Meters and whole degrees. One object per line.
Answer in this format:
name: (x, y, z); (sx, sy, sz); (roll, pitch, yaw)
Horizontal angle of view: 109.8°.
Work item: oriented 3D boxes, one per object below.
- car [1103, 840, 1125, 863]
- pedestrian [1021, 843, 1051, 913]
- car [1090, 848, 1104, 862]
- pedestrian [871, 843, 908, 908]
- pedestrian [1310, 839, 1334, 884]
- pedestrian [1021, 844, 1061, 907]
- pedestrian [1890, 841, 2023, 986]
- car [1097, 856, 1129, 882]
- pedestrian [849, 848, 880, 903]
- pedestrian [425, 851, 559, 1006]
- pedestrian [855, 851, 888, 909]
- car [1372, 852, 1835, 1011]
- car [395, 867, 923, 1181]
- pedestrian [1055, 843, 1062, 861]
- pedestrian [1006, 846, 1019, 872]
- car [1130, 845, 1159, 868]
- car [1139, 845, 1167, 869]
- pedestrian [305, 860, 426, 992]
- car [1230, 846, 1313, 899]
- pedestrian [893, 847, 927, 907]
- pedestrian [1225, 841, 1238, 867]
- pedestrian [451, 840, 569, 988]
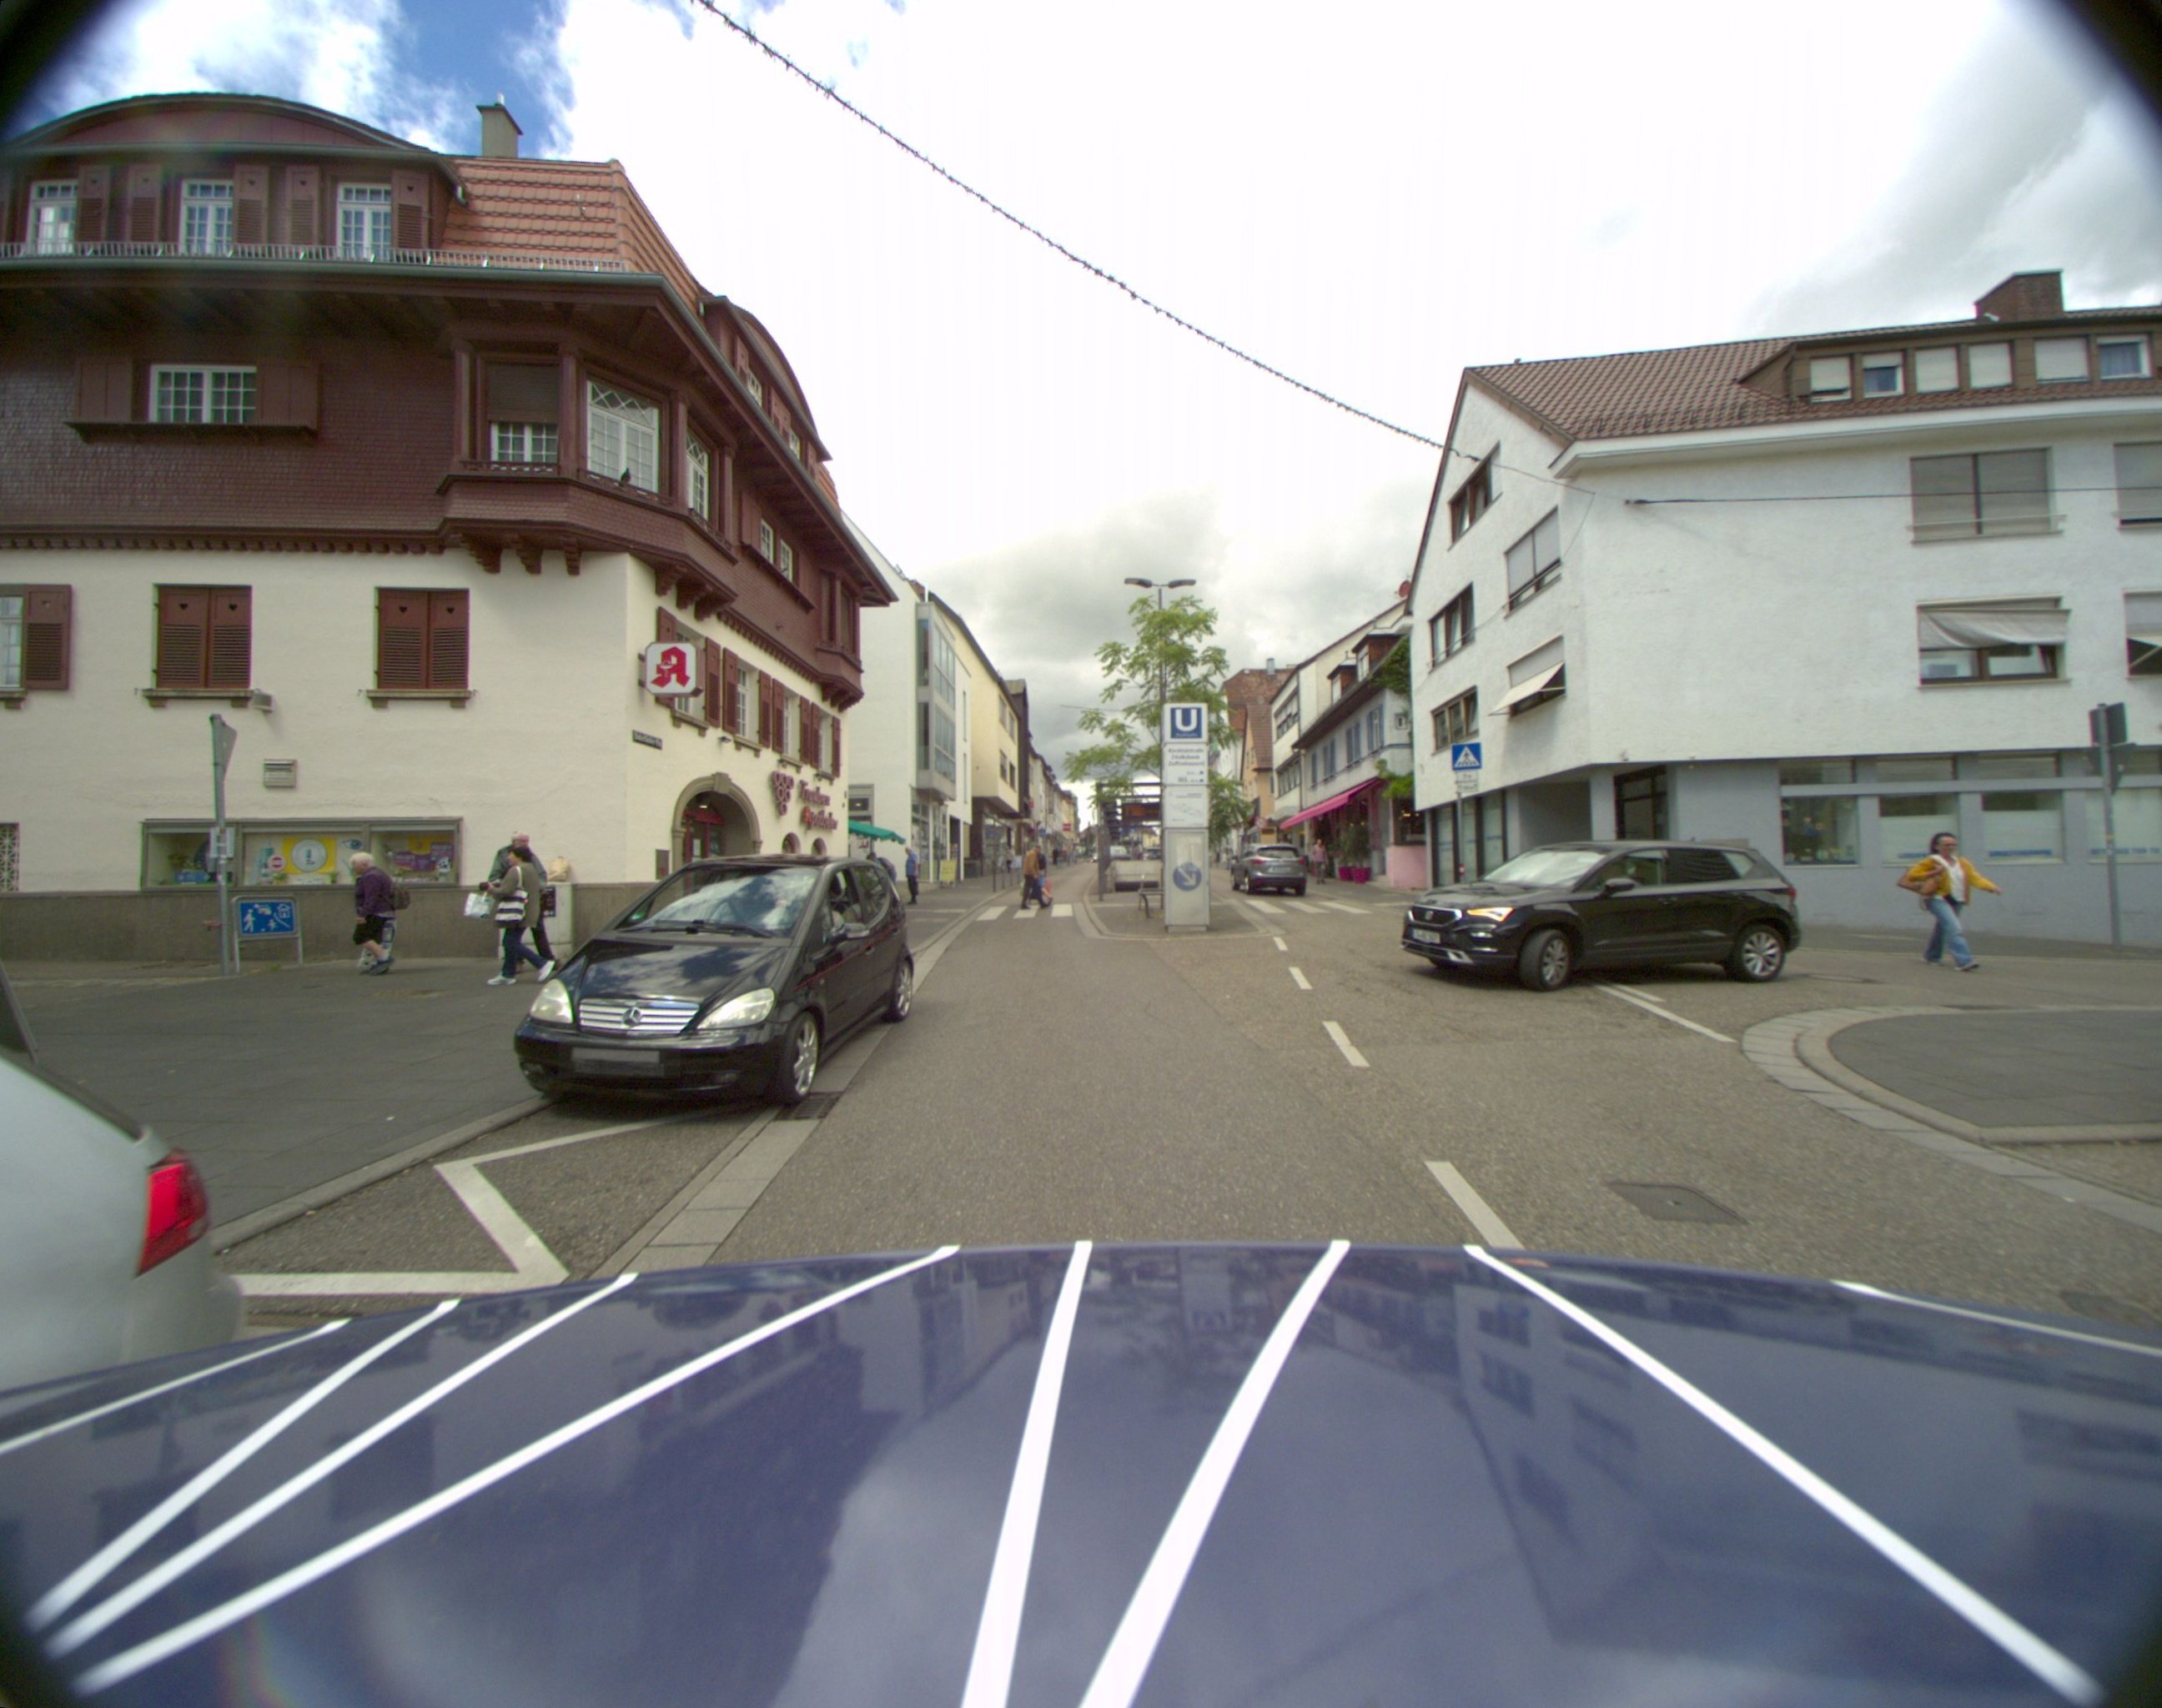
car: (2.498, -0.222, 57.313); (1.576, 1.600, 3.533); (-3, 1, 2)
pedestrian: (-1.192, 0.619, 20.100); (0.676, 1.791, 0.787); (-1, 1, -11)
car: (2.420, 0.088, 113.840); (1.998, 2.002, 4.000); (-1, 1, 2)
pedestrian: (-5.564, 0.609, 22.121); (0.778, 1.846, 0.704); (0, 1, 44)
pedestrian: (9.319, 0.276, 29.394); (0.696, 1.730, 0.825); (-1, 1, 4)
pedestrian: (-1.142, 0.604, 21.922); (0.918, 1.777, 0.988); (-1, 1, 10)
pedestrian: (10.839, 0.700, 9.442); (0.638, 1.728, 0.835); (0, 1, -1)
car: (2.106, 0.972, 51.258); (1.998, 1.557, 4.431); (-3, 1, 1)
pedestrian: (-6.514, 0.640, 22.861); (0.625, 1.603, 0.703); (-1, 1, 7)
pedestrian: (-6.563, 0.790, 8.507); (0.774, 1.636, 0.870); (0, 1, 8)
pedestrian: (-5.891, 0.726, 21.409); (0.625, 1.603, 0.703); (-1, 1, 7)
car: (5.917, 0.764, 8.853); (4.373, 1.560, 1.913); (0, 1, -10)
car: (-2.639, 0.934, 5.979); (1.807, 1.546, 3.954); (-1, 1, 2)
pedestrian: (-2.191, -0.191, 73.217); (0.663, 1.697, 0.780); (-1, 1, 0)
pedestrian: (-4.387, 0.323, 48.620); (0.759, 1.664, 0.780); (2, 1, 0)
car: (4.862, 0.179, 58.767); (1.998, 1.580, 4.495); (-3, 0, 2)
car: (4.858, 0.187, 51.677); (1.703, 1.539, 3.899); (-1, 1, 2)
pedestrian: (-8.784, 0.848, 9.357); (0.725, 1.522, 0.808); (2, 1, 8)
car: (6.227, 0.531, 25.334); (1.967, 1.612, 4.356); (0, 1, 4)
pedestrian: (-5.124, 0.675, 22.806); (0.701, 1.756, 0.627); (0, 1, 28)
pedestrian: (9.973, -0.021, 50.502); (0.748, 1.704, 0.664); (-1, 1, 3)
pedestrian: (-7.084, 0.713, 9.473); (0.776, 1.759, 0.817); (-1, 1, 3)
